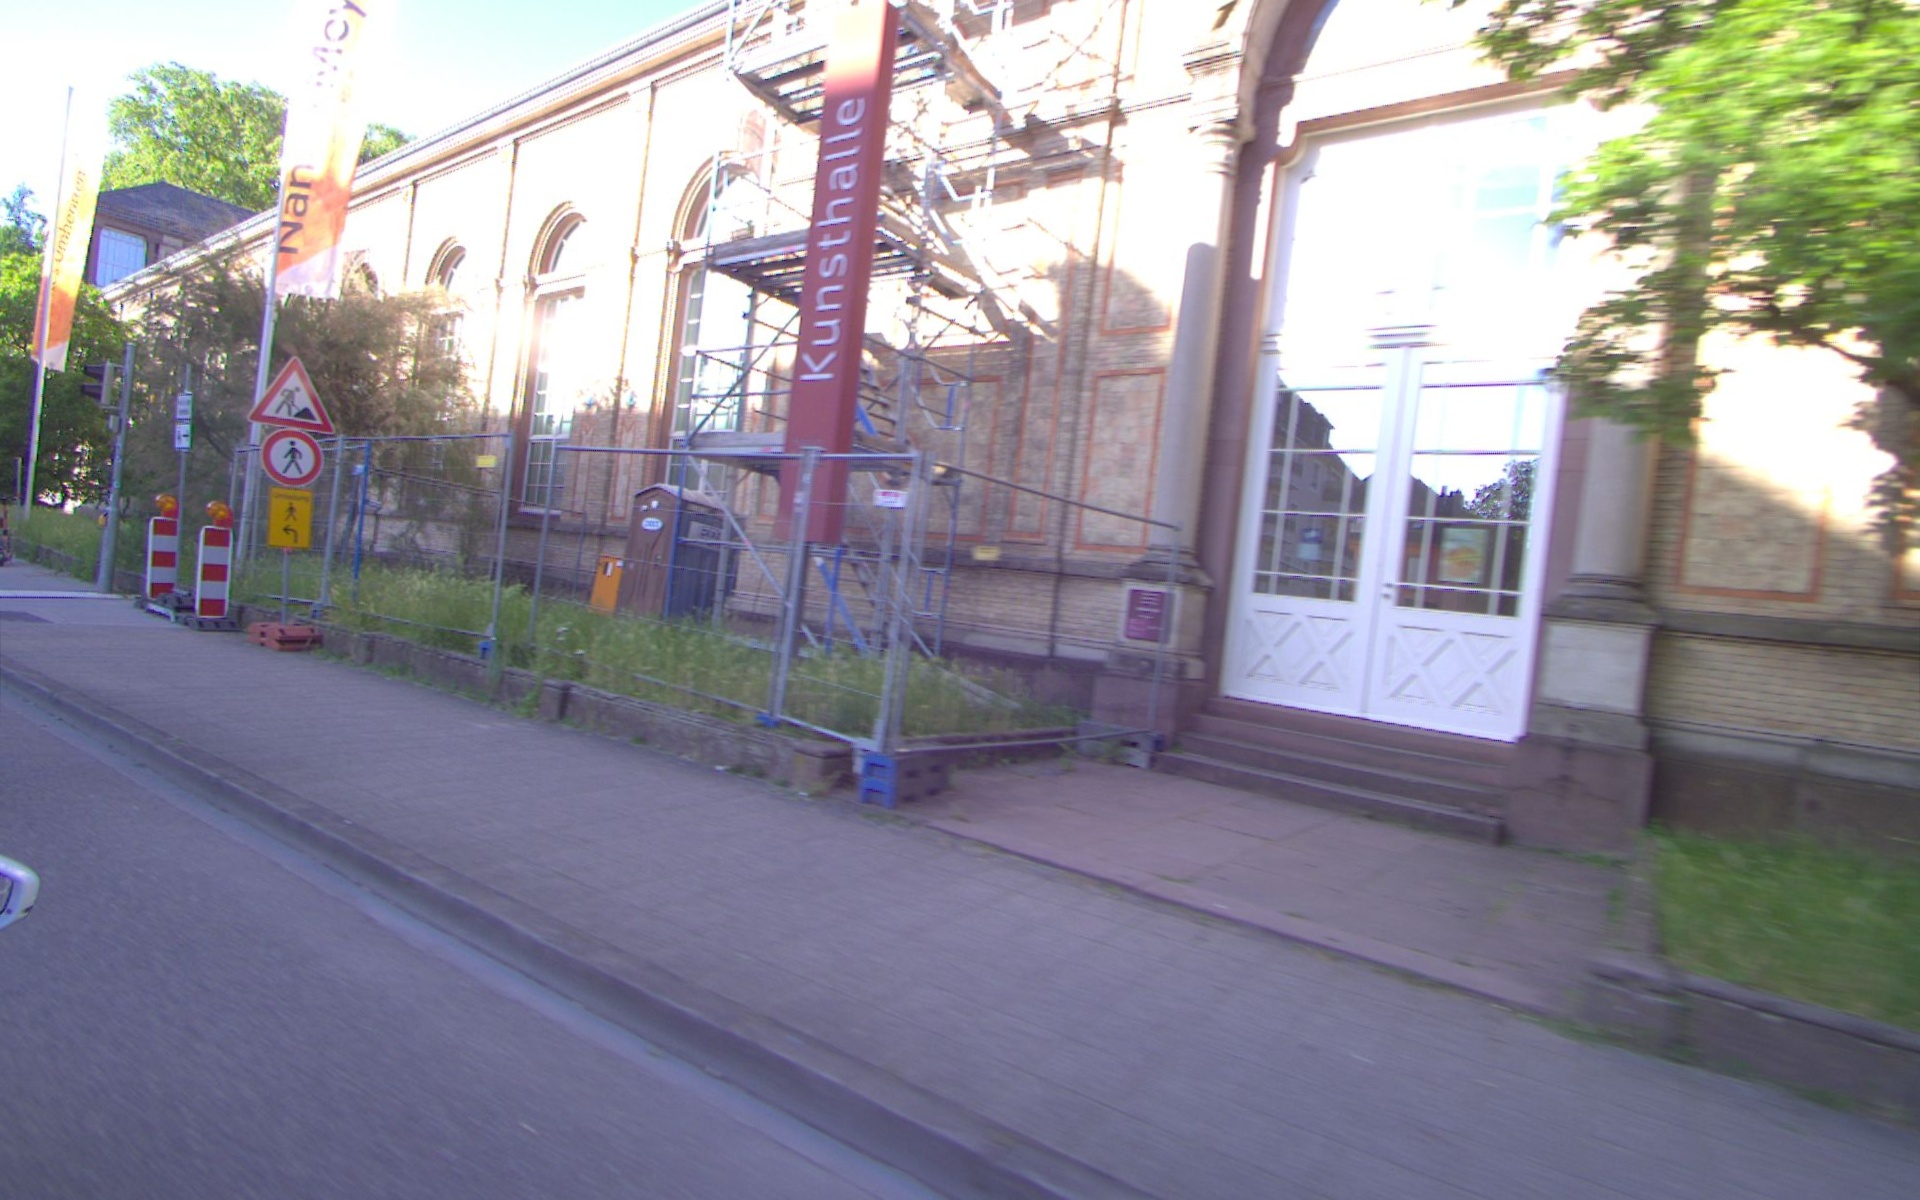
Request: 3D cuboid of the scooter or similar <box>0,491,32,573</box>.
[{"bbox_3d":[-16.922,-1.239,17.697,1.805,1.325,0.554,7,1,39],"label":"scooter or similar"}]
